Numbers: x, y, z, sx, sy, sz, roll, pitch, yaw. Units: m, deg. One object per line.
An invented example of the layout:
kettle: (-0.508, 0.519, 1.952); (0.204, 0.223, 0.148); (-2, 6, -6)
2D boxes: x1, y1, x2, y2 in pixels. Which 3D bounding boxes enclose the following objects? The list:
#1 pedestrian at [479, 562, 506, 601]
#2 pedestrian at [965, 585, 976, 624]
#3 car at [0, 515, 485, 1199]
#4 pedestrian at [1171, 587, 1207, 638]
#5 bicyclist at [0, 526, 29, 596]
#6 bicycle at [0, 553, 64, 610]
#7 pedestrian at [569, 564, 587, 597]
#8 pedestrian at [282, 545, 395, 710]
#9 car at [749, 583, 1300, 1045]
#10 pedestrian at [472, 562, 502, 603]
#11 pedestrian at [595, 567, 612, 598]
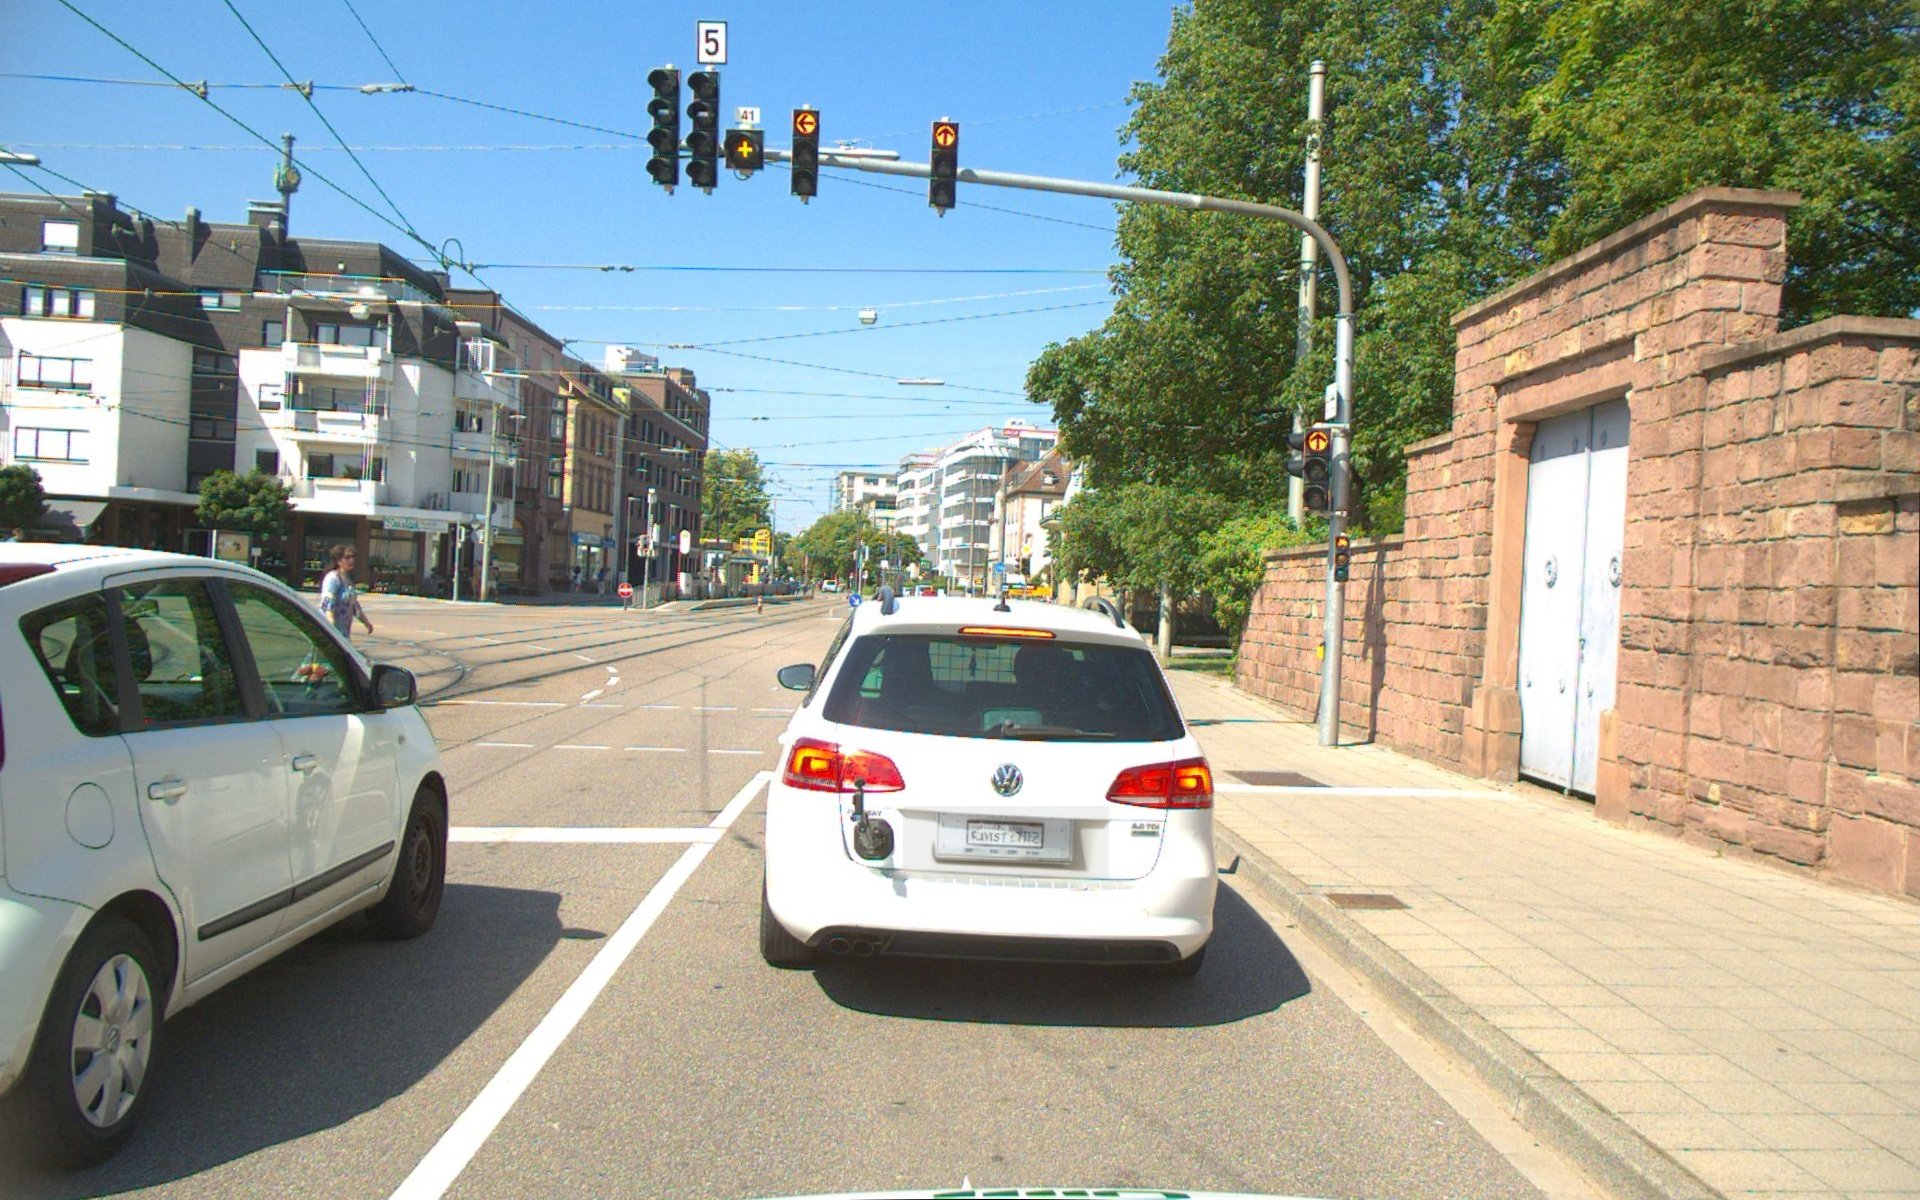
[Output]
pedestrian: (-21.522, -0.842, 76.125); (0.843, 1.773, 0.976); (0, -1, 9)
pedestrian: (0.638, 0.266, 101.609); (0.675, 2.366, 1.232); (1, -1, 1)
car: (-2.881, 0.562, 5.396); (1.608, 1.593, 3.803); (1, 1, -1)
pedestrian: (7.990, 0.434, 57.800); (0.851, 1.773, 0.967); (1, -1, -25)
bicyclist: (-22.448, -0.915, 39.178); (0.630, 1.641, 0.556); (1, -1, -33)
bicycle: (-22.492, -0.440, 39.148); (2.221, 1.320, 0.553); (1, -1, -33)
pedestrian: (-21.270, -1.089, 92.020); (0.845, 1.773, 0.973); (1, -1, -6)
pedestrian: (-6.498, 0.288, 17.347); (0.955, 1.680, 0.952); (1, -1, -14)
car: (0.181, 0.688, 7.418); (1.771, 1.473, 3.999); (2, 0, -1)
pedestrian: (-21.057, -0.776, 73.631); (0.847, 1.773, 0.971); (0, -1, 37)
pedestrian: (-21.125, -1.027, 97.939); (0.845, 1.773, 0.973); (1, -1, -6)
